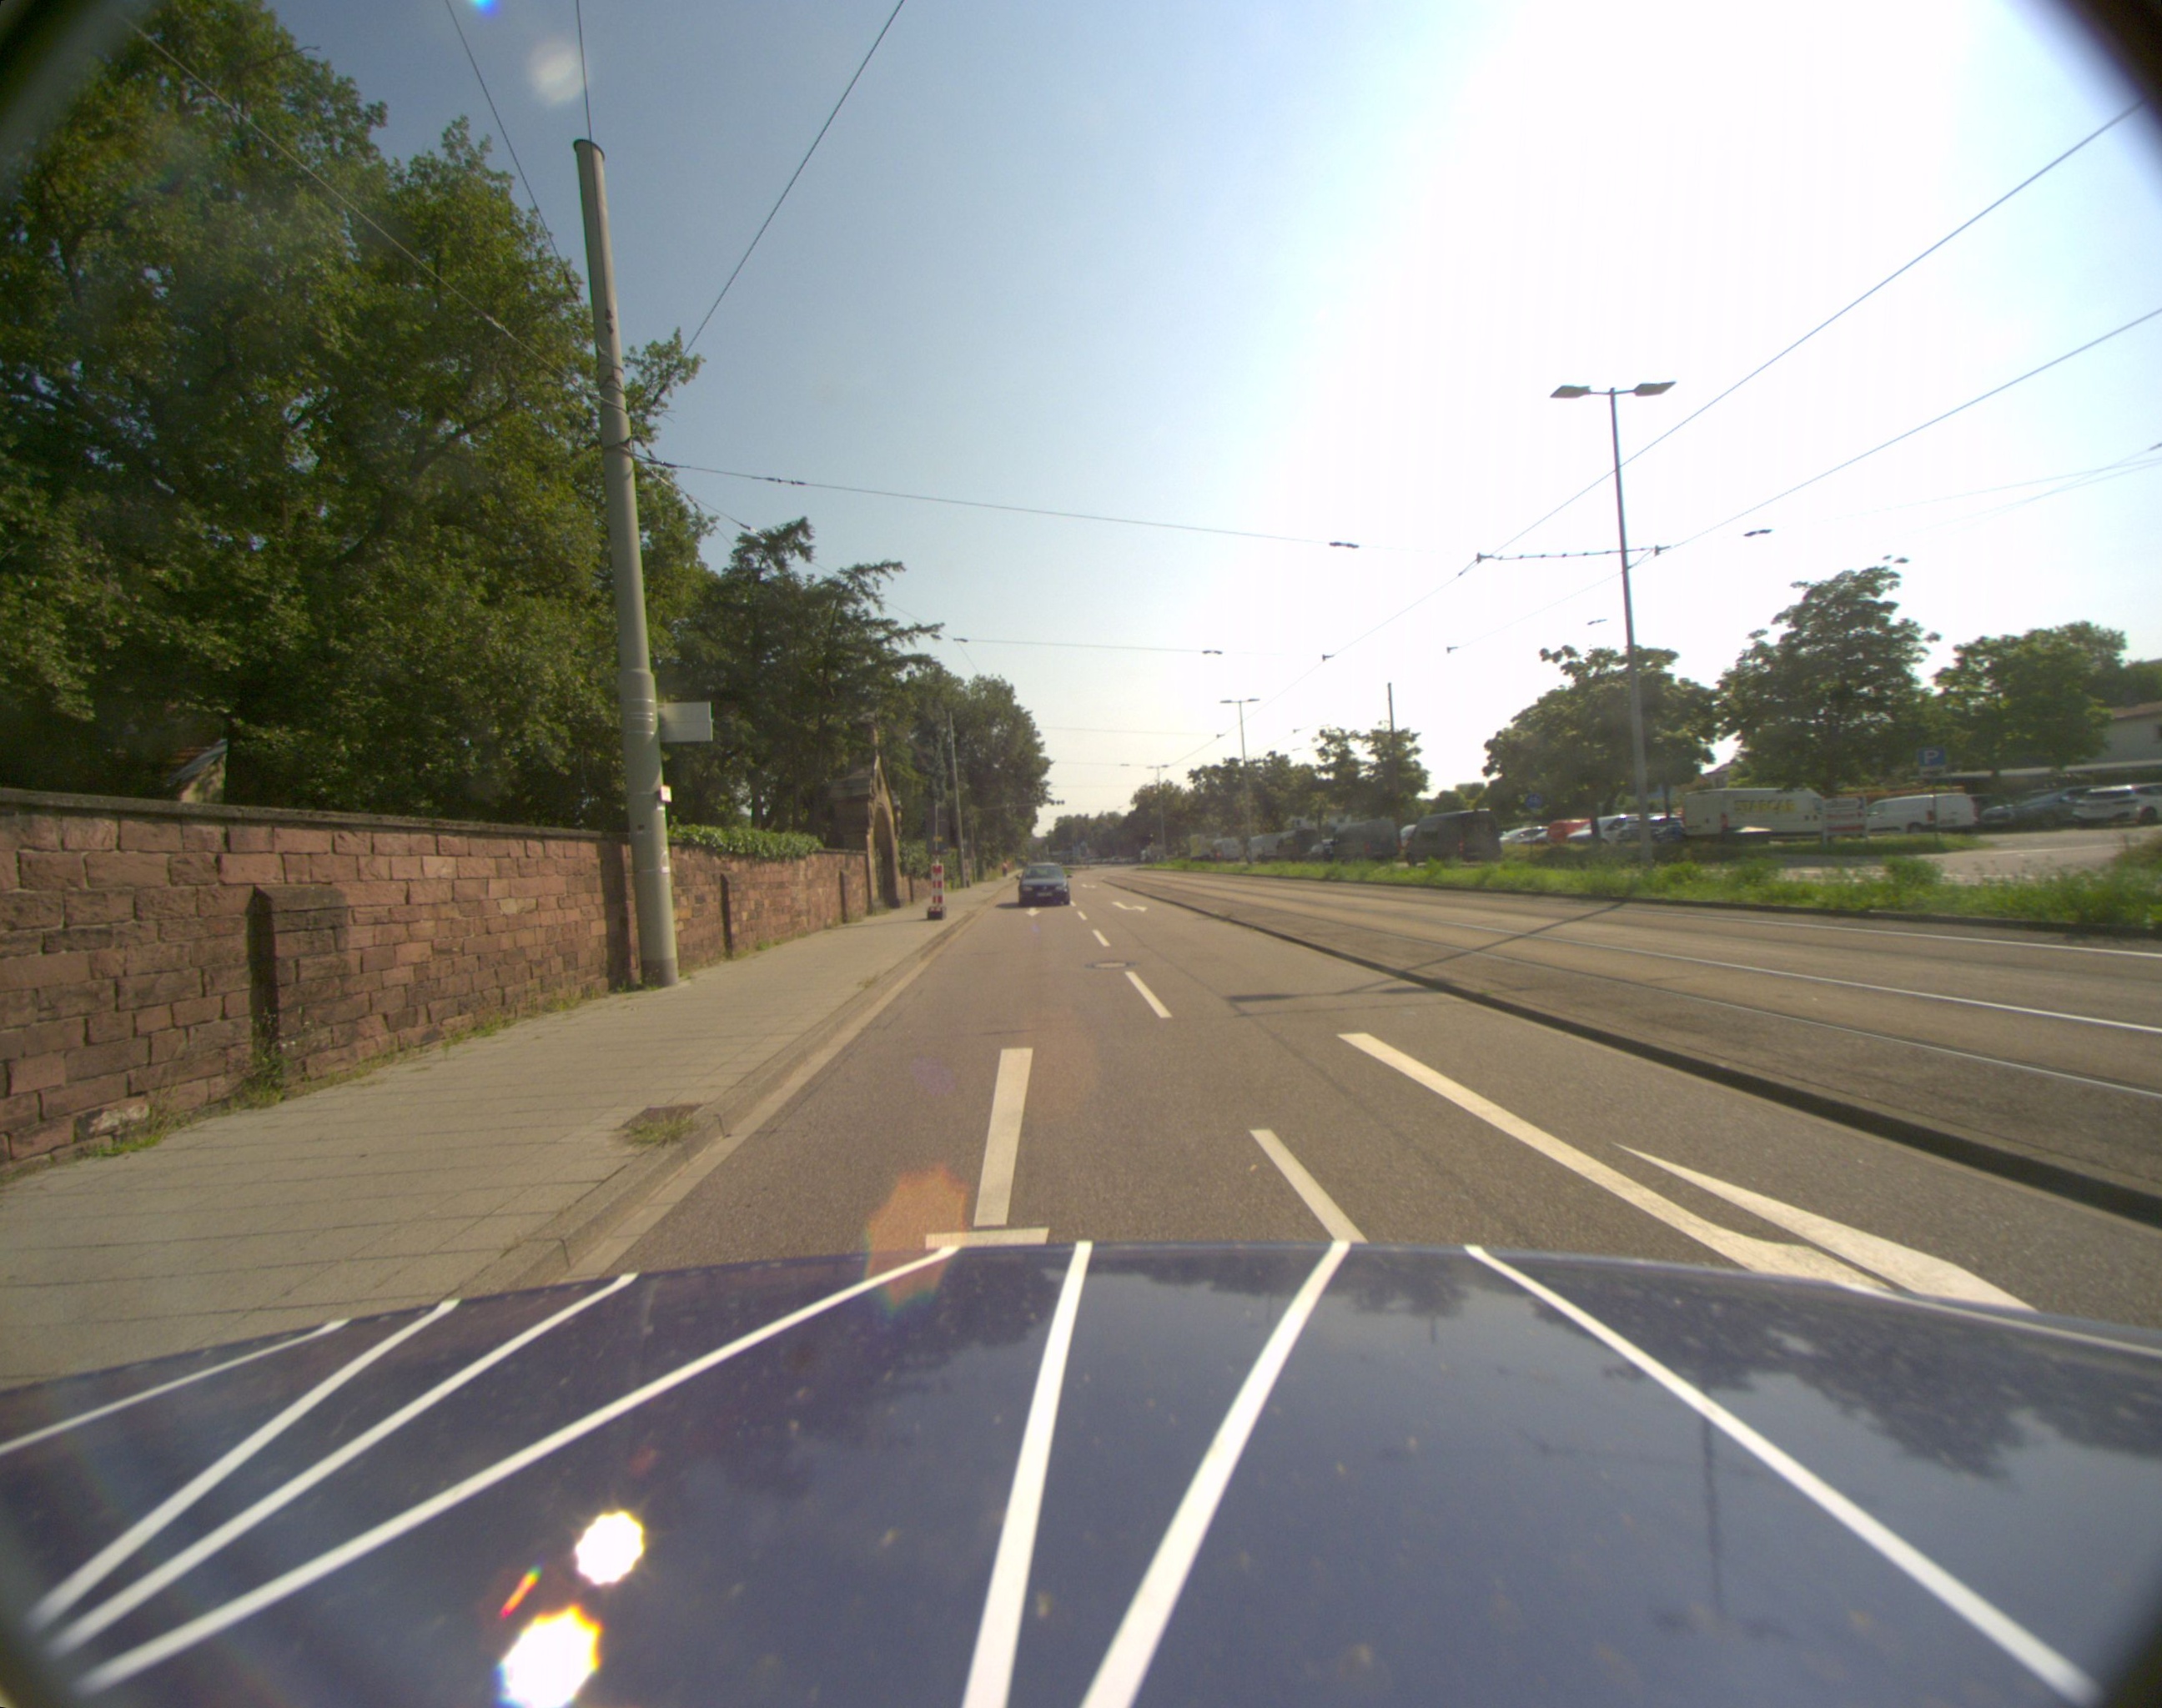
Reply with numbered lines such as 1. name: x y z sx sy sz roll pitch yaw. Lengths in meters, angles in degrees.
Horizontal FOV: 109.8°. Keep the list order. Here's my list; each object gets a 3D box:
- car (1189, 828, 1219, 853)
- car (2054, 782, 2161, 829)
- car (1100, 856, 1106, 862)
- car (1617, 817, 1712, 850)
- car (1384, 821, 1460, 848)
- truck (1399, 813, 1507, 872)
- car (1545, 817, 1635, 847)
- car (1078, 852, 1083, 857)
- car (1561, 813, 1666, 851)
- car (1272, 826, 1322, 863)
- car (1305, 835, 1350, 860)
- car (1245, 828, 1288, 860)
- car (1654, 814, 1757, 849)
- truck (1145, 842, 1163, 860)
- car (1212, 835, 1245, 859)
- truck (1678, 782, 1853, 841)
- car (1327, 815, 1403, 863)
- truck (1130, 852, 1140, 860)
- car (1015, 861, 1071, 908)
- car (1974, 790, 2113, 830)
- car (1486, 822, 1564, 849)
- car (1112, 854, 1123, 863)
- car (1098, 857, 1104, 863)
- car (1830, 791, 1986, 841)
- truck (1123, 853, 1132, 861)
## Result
1. car: 14.673 -1.510 91.180 2.130 2.789 7.229 -2 0 -2
2. car: 41.211 -1.924 29.975 3.456 1.493 1.876 -6 0 -6
3. car: 6.385 1.374 219.318 1.551 1.575 3.454 -2 0 -4
4. car: 28.329 -0.998 36.966 3.414 1.418 1.633 -2 0 -4
5. car: 27.331 -1.584 60.999 5.200 1.914 2.052 -2 0 -4
6. truck: 17.816 -0.523 36.779 2.087 2.533 5.737 -2 0 -3
7. car: 28.412 -1.220 42.473 3.934 1.509 1.633 -2 0 -4
8. car: -0.256 0.193 255.426 1.551 1.575 3.454 -2 0 -4
9. car: 27.778 -1.143 39.720 4.411 1.774 1.633 -2 0 -4
10. car: 16.683 -0.708 59.090 1.827 2.571 5.909 -5 0 -2
11. car: 17.159 -0.432 52.992 1.749 1.543 3.833 -5 0 0
12. car: 16.371 -0.855 67.231 2.138 2.571 5.629 -2 0 -2
13. car: 28.301 -1.011 34.503 3.414 1.418 1.633 -2 0 -4
14. truck: 12.892 -0.528 134.361 2.279 3.103 8.786 -2 0 0
15. car: 15.804 -0.712 81.572 2.149 2.444 4.830 -2 0 -4
16. truck: 28.754 -1.767 32.049 5.505 2.160 2.259 -2 0 -4
17. car: 17.293 -0.881 46.758 1.993 2.571 6.466 -5 0 -1
18. truck: 11.674 0.350 163.590 1.691 1.665 3.654 -2 0 -2
19. car: -1.282 1.012 26.725 1.776 1.416 3.934 -2 0 -2
20. car: 40.678 -1.830 32.171 3.714 1.335 1.491 -4 0 5
21. car: 27.805 -1.141 47.637 4.171 1.455 1.623 -3 0 -12
22. car: 7.390 0.884 152.334 1.930 1.510 3.948 -2 0 0
23. car: 5.995 1.694 225.581 1.551 1.575 3.454 -2 0 -4
24. car: 35.226 -1.553 32.576 1.988 1.747 4.422 -4 -1 5
25. truck: 10.751 0.706 174.714 1.691 1.665 3.654 -2 0 -2
